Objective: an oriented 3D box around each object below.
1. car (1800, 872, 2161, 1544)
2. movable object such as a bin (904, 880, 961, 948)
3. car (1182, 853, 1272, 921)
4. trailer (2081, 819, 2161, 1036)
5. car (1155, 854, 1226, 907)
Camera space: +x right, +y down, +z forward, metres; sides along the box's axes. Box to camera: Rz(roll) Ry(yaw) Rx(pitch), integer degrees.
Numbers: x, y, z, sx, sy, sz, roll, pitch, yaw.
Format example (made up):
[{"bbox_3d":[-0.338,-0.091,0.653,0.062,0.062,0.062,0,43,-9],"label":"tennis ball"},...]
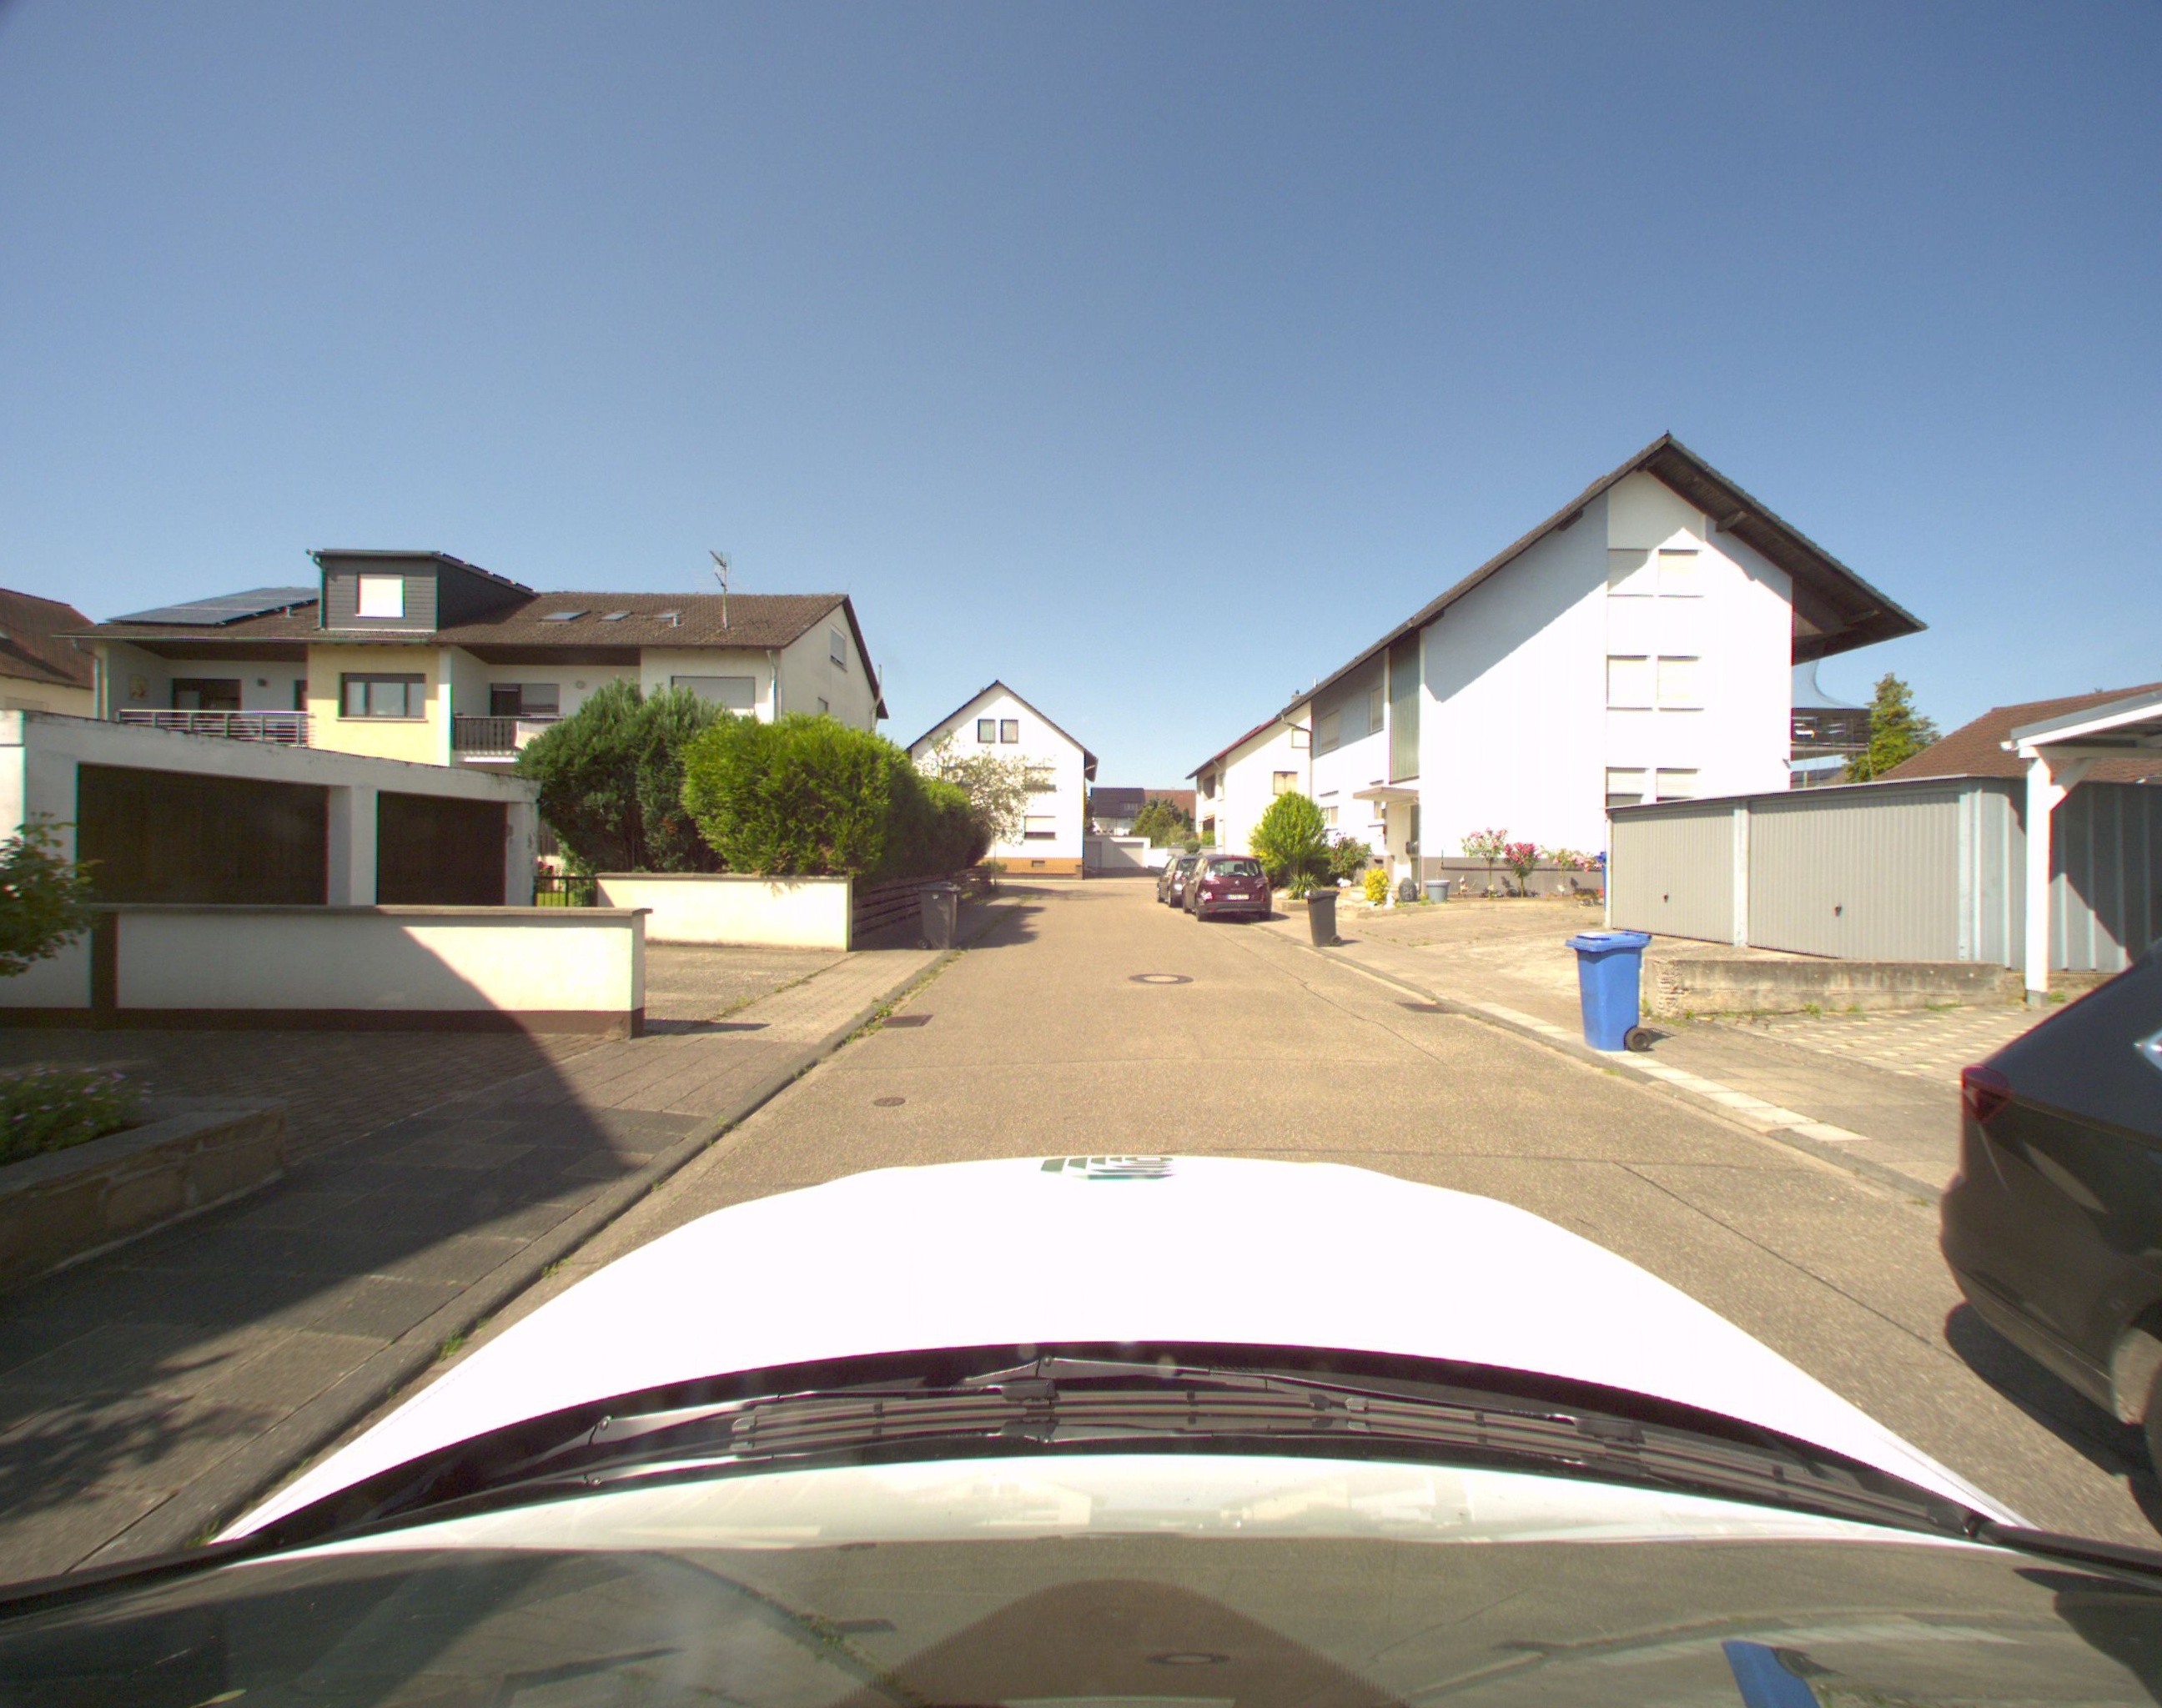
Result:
[{"bbox_3d":[3.147,0.776,0.426,1.710,1.438,4.505,0,0,2],"label":"car"},{"bbox_3d":[-2.424,0.972,13.335,0.816,1.063,0.611,0,0,-1],"label":"movable object such as a bin"},{"bbox_3d":[3.647,0.757,21.022,1.639,1.581,4.148,0,0,1],"label":"car"},{"bbox_3d":[9.823,0.573,6.151,2.824,1.690,1.403,0,0,1],"label":"trailer"},{"bbox_3d":[3.417,0.778,26.016,1.640,1.546,4.045,0,0,-1],"label":"car"}]
